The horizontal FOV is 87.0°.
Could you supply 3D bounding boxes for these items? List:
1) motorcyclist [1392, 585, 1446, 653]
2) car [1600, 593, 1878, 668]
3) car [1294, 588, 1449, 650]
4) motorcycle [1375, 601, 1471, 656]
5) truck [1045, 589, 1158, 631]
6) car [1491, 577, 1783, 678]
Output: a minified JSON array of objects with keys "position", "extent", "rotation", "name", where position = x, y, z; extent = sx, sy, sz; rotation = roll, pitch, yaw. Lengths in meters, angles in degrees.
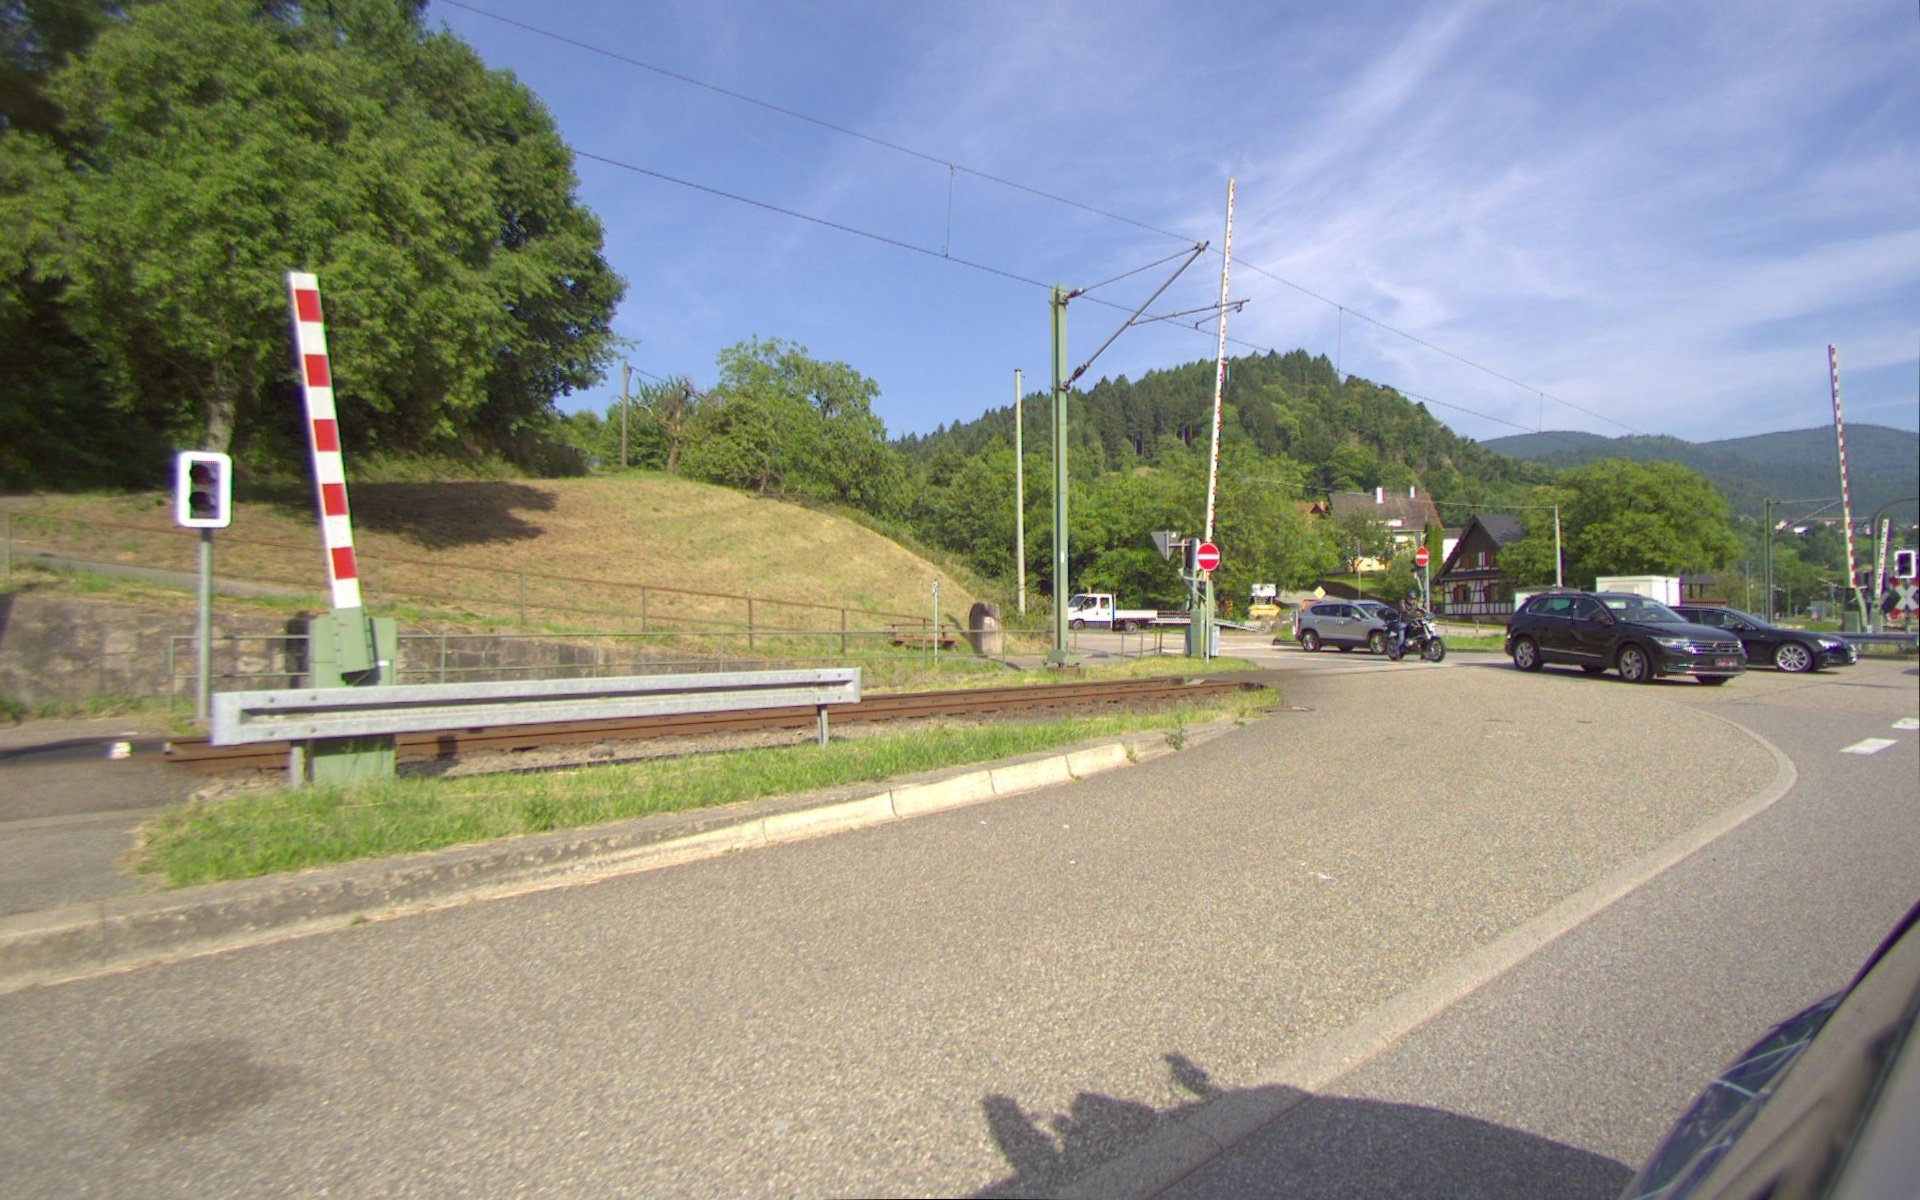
[{"position":[11.125,0.462,24.548],"extent":[0.749,1.617,0.911],"rotation":[0,-2,-24],"name":"motorcyclist"},{"position":[17.572,0.614,23.062],"extent":[1.808,1.488,4.738],"rotation":[0,1,-38],"name":"car"},{"position":[12.291,0.580,30.495],"extent":[1.797,1.708,4.131],"rotation":[0,-2,-27],"name":"car"},{"position":[11.157,0.686,24.464],"extent":[0.782,1.270,2.103],"rotation":[0,-2,-23],"name":"motorcycle"},{"position":[7.937,0.523,57.003],"extent":[5.812,2.260,2.413],"rotation":[-1,1,-16],"name":"truck"},{"position":[12.636,0.448,19.371],"extent":[1.891,1.680,4.749],"rotation":[0,0,-10],"name":"car"}]
